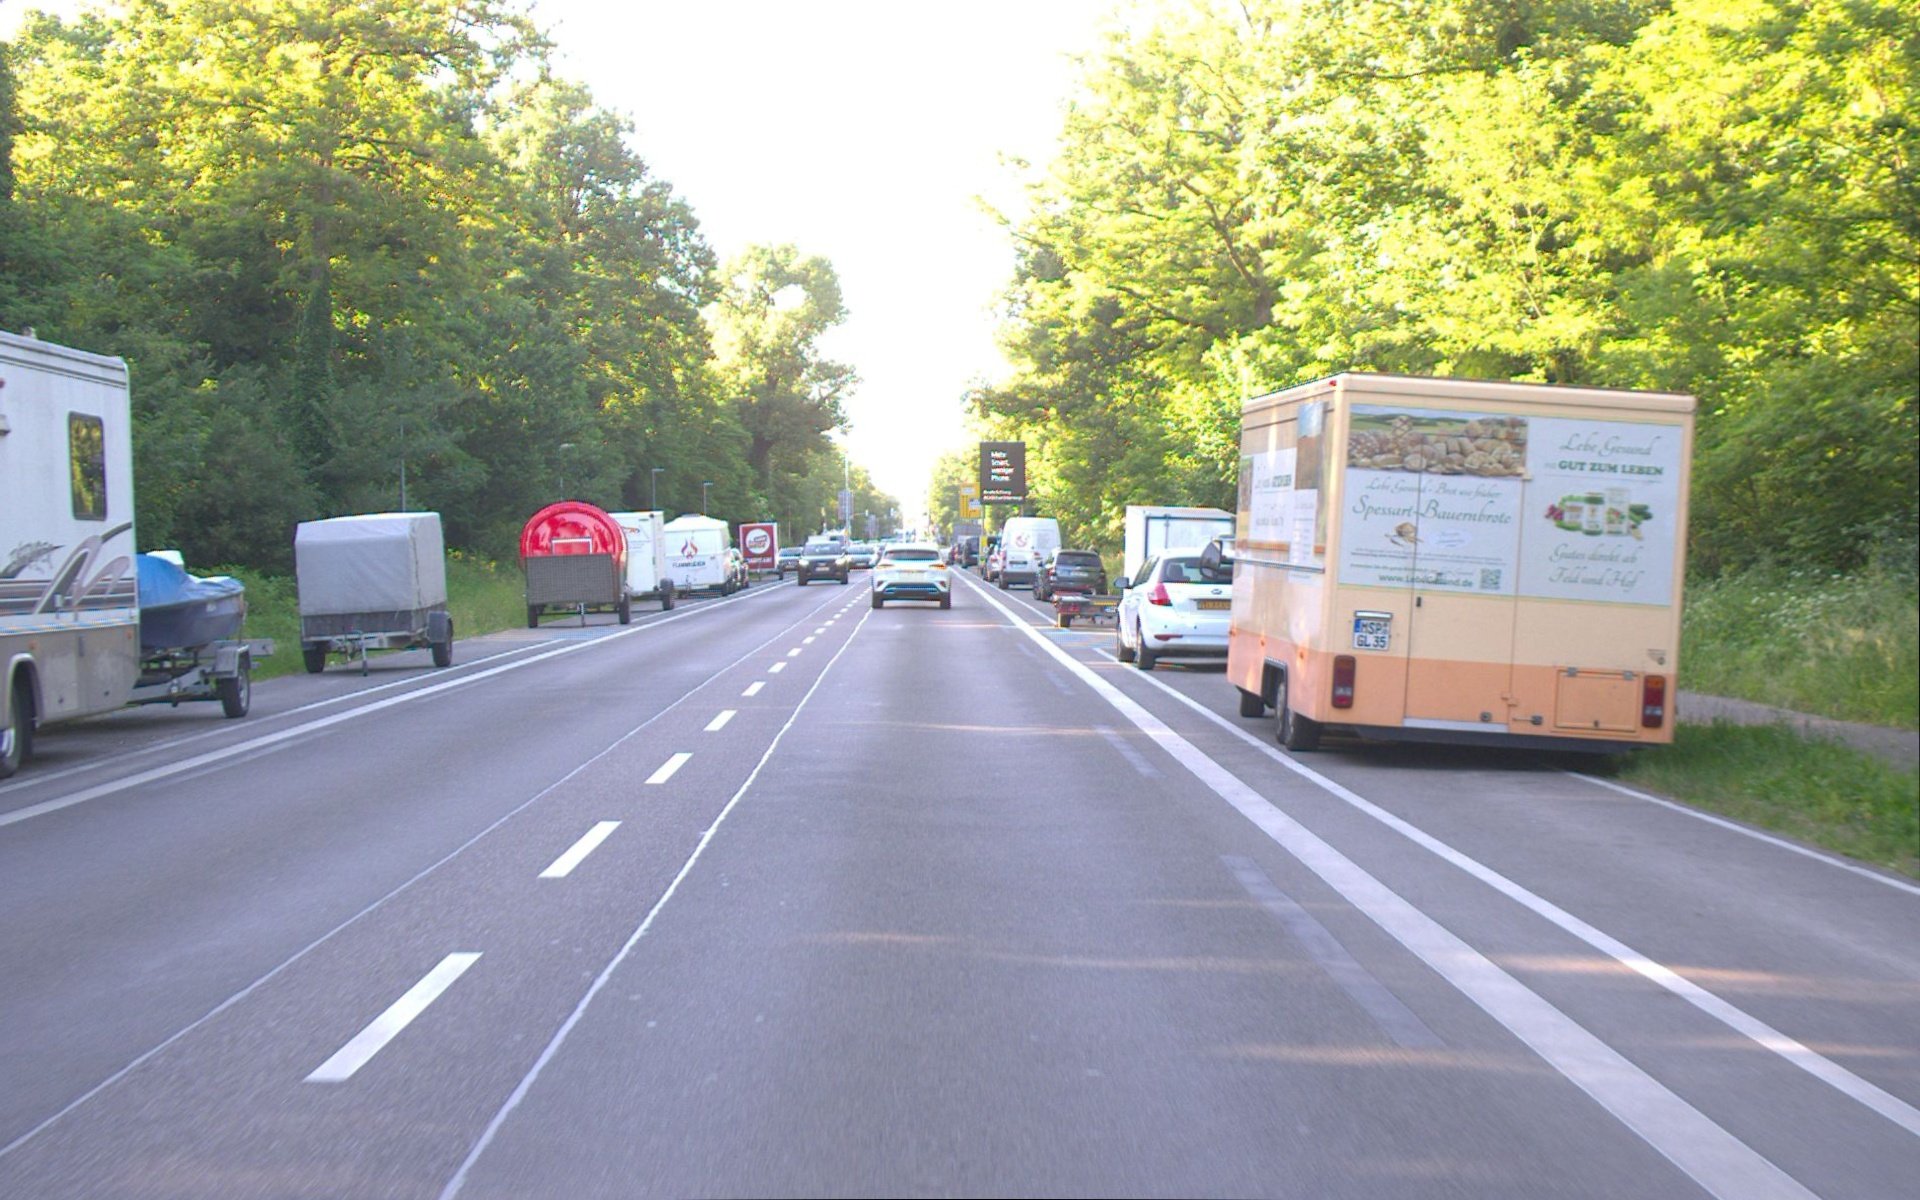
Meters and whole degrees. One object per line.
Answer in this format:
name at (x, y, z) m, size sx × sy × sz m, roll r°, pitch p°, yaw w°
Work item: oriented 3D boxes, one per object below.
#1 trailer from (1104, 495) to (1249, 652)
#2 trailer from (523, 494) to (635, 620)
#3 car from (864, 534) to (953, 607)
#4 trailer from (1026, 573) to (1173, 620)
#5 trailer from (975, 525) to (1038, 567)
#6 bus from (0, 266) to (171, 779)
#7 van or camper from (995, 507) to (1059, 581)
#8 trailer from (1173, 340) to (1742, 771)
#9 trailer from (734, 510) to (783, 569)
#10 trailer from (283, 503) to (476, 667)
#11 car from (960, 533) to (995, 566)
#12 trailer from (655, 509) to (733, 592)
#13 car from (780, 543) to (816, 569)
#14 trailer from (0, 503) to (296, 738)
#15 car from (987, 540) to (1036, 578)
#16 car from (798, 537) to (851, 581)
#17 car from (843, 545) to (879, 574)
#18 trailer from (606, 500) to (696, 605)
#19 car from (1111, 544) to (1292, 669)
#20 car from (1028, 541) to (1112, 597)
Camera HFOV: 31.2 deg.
trailer at (3.060, -0.400, 49.205) m, size 1.754 × 2.154 × 3.540 m, roll 0°, pitch 1°, yaw -2°
trailer at (-7.707, -0.883, 69.796) m, size 2.066 × 2.472 × 3.561 m, roll -1°, pitch 1°, yaw -4°
car at (-1.184, -0.710, 79.981) m, size 1.993 × 1.634 × 4.000 m, roll 0°, pitch 1°, yaw -1°
trailer at (2.511, -0.087, 63.426) m, size 2.432 × 0.796 × 5.660 m, roll 1°, pitch 1°, yaw 0°
trailer at (2.257, -2.623, 166.415) m, size 1.964 × 2.016 × 3.840 m, roll 0°, pitch 1°, yaw 19°
bus at (-7.813, -0.527, 22.471) m, size 2.828 × 3.419 × 11.201 m, roll 1°, pitch 1°, yaw -1°
van or camper at (2.266, -1.911, 117.899) m, size 2.125 × 2.474 × 6.305 m, roll 0°, pitch 1°, yaw 0°
trailer at (3.724, -0.353, 28.548) m, size 2.921 × 2.831 × 9.884 m, roll 3°, pitch 1°, yaw -2°
trailer at (-9.095, -2.717, 155.325) m, size 1.993 × 2.612 × 4.086 m, roll 0°, pitch 1°, yaw 0°
trailer at (-7.633, -0.223, 45.493) m, size 1.853 × 2.007 × 3.561 m, roll -3°, pitch 1°, yaw 0°
car at (1.076, -3.162, 216.036) m, size 2.113 × 2.007 × 5.040 m, roll 2°, pitch 1°, yaw 0°
trailer at (-8.234, -1.545, 106.805) m, size 2.345 × 2.520 × 4.345 m, roll -1°, pitch 1°, yaw -4°
car at (-9.154, -2.489, 194.210) m, size 1.855 × 1.459 × 4.784 m, roll 0°, pitch 1°, yaw -1°
trailer at (-7.829, 0.101, 31.250) m, size 2.428 × 1.908 × 6.264 m, roll 0°, pitch 1°, yaw -1°
car at (2.050, -1.669, 138.859) m, size 1.734 × 1.482 × 4.401 m, roll 2°, pitch 1°, yaw -2°
car at (-5.060, -1.538, 128.927) m, size 1.818 × 1.581 × 4.459 m, roll -1°, pitch 1°, yaw 0°
car at (-5.364, -2.191, 186.641) m, size 1.819 × 1.527 × 4.530 m, roll -1°, pitch 1°, yaw -1°
trailer at (-7.532, -1.173, 84.141) m, size 2.066 × 2.472 × 3.561 m, roll -1°, pitch 1°, yaw -4°
car at (2.979, 0.043, 43.293) m, size 1.887 × 1.463 × 4.570 m, roll 0°, pitch 1°, yaw -1°
car at (3.003, -0.867, 94.335) m, size 1.834 × 1.416 × 4.598 m, roll 3°, pitch 1°, yaw -3°
